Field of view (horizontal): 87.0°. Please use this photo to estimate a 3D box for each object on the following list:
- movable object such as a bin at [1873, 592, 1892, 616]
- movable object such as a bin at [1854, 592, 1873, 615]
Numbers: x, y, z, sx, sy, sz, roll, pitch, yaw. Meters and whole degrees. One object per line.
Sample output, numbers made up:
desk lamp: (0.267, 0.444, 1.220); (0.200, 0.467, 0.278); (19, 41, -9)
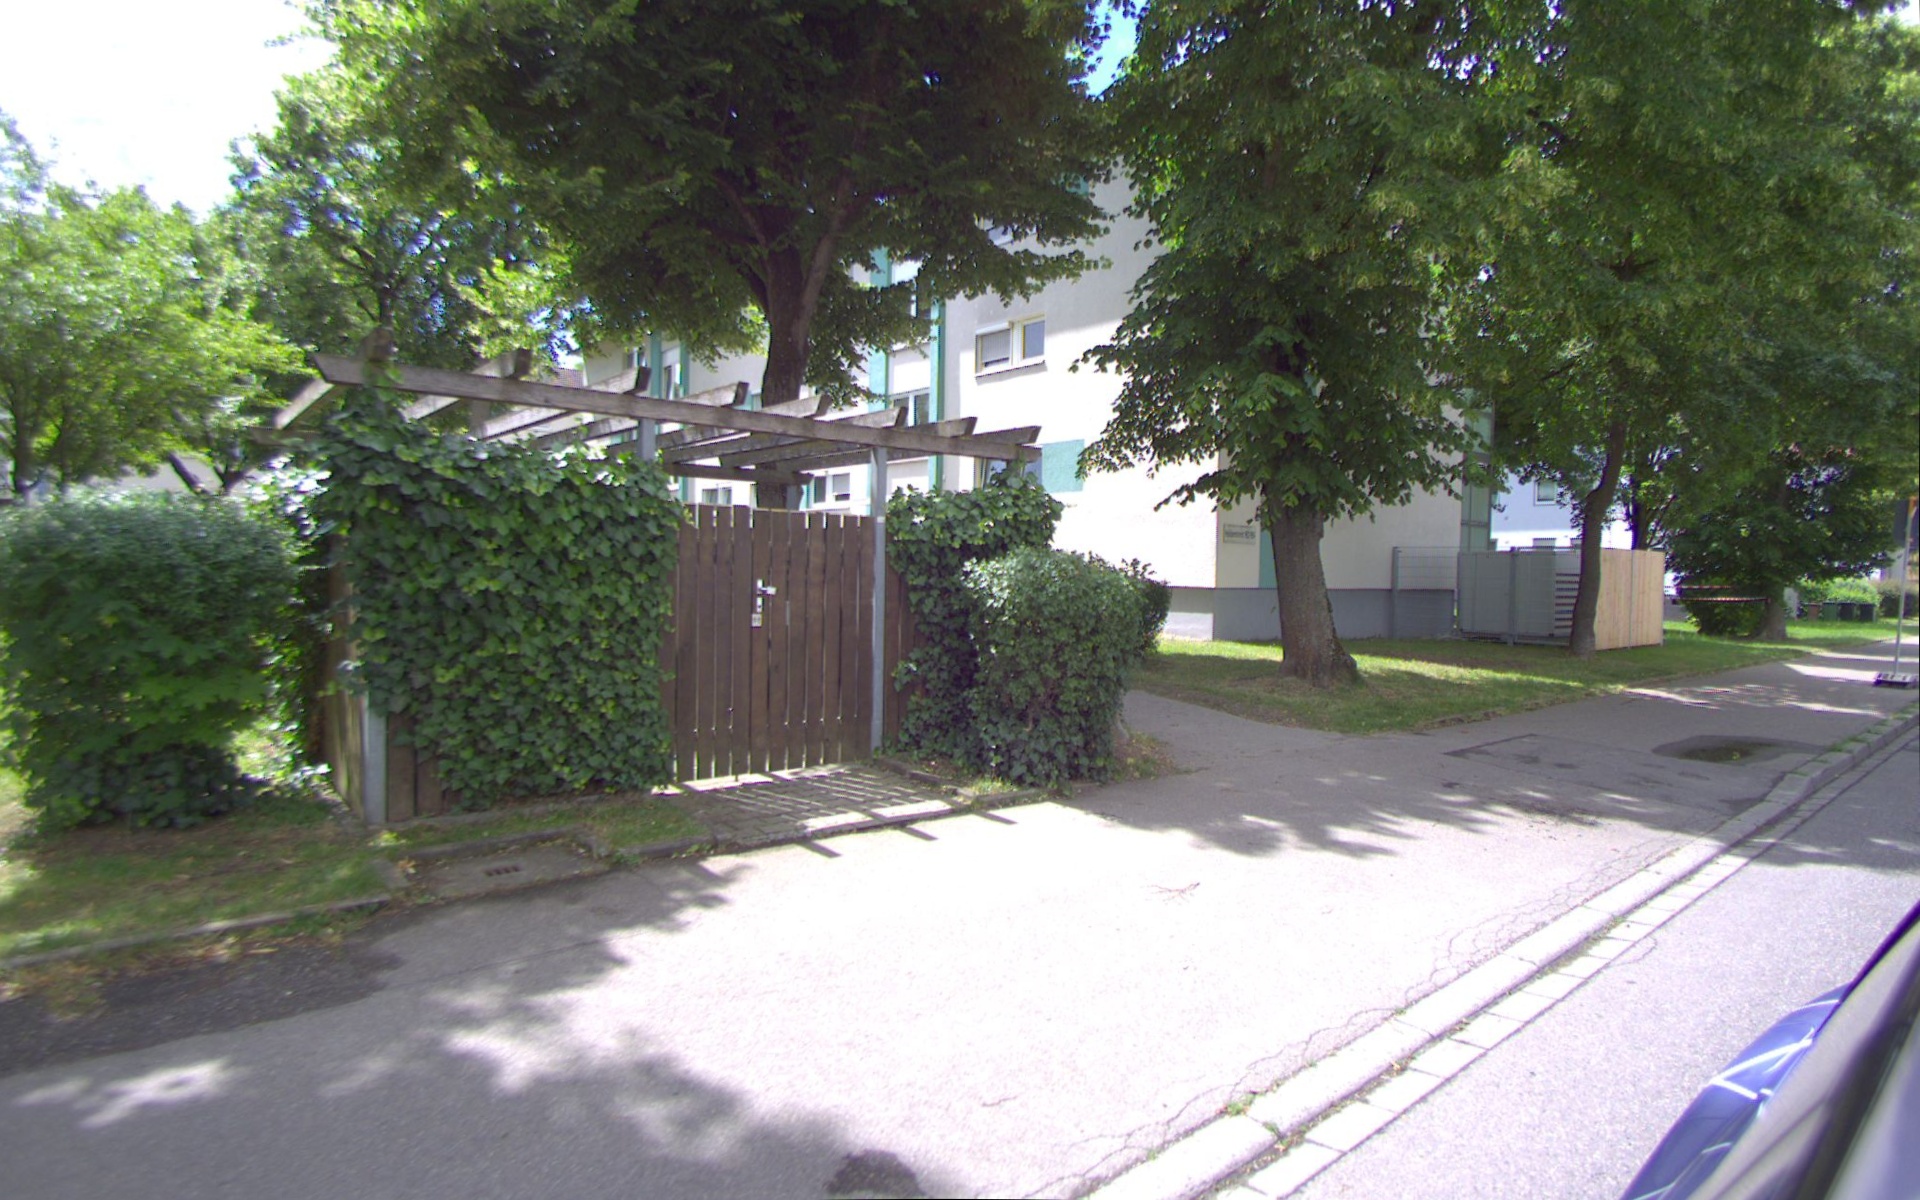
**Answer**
movable object such as a bin: (39.309, 0.166, 43.134); (0.570, 0.966, 0.497); (0, 3, -41)
movable object such as a bin: (38.901, 0.145, 43.570); (0.541, 0.959, 0.501); (0, 3, -41)
